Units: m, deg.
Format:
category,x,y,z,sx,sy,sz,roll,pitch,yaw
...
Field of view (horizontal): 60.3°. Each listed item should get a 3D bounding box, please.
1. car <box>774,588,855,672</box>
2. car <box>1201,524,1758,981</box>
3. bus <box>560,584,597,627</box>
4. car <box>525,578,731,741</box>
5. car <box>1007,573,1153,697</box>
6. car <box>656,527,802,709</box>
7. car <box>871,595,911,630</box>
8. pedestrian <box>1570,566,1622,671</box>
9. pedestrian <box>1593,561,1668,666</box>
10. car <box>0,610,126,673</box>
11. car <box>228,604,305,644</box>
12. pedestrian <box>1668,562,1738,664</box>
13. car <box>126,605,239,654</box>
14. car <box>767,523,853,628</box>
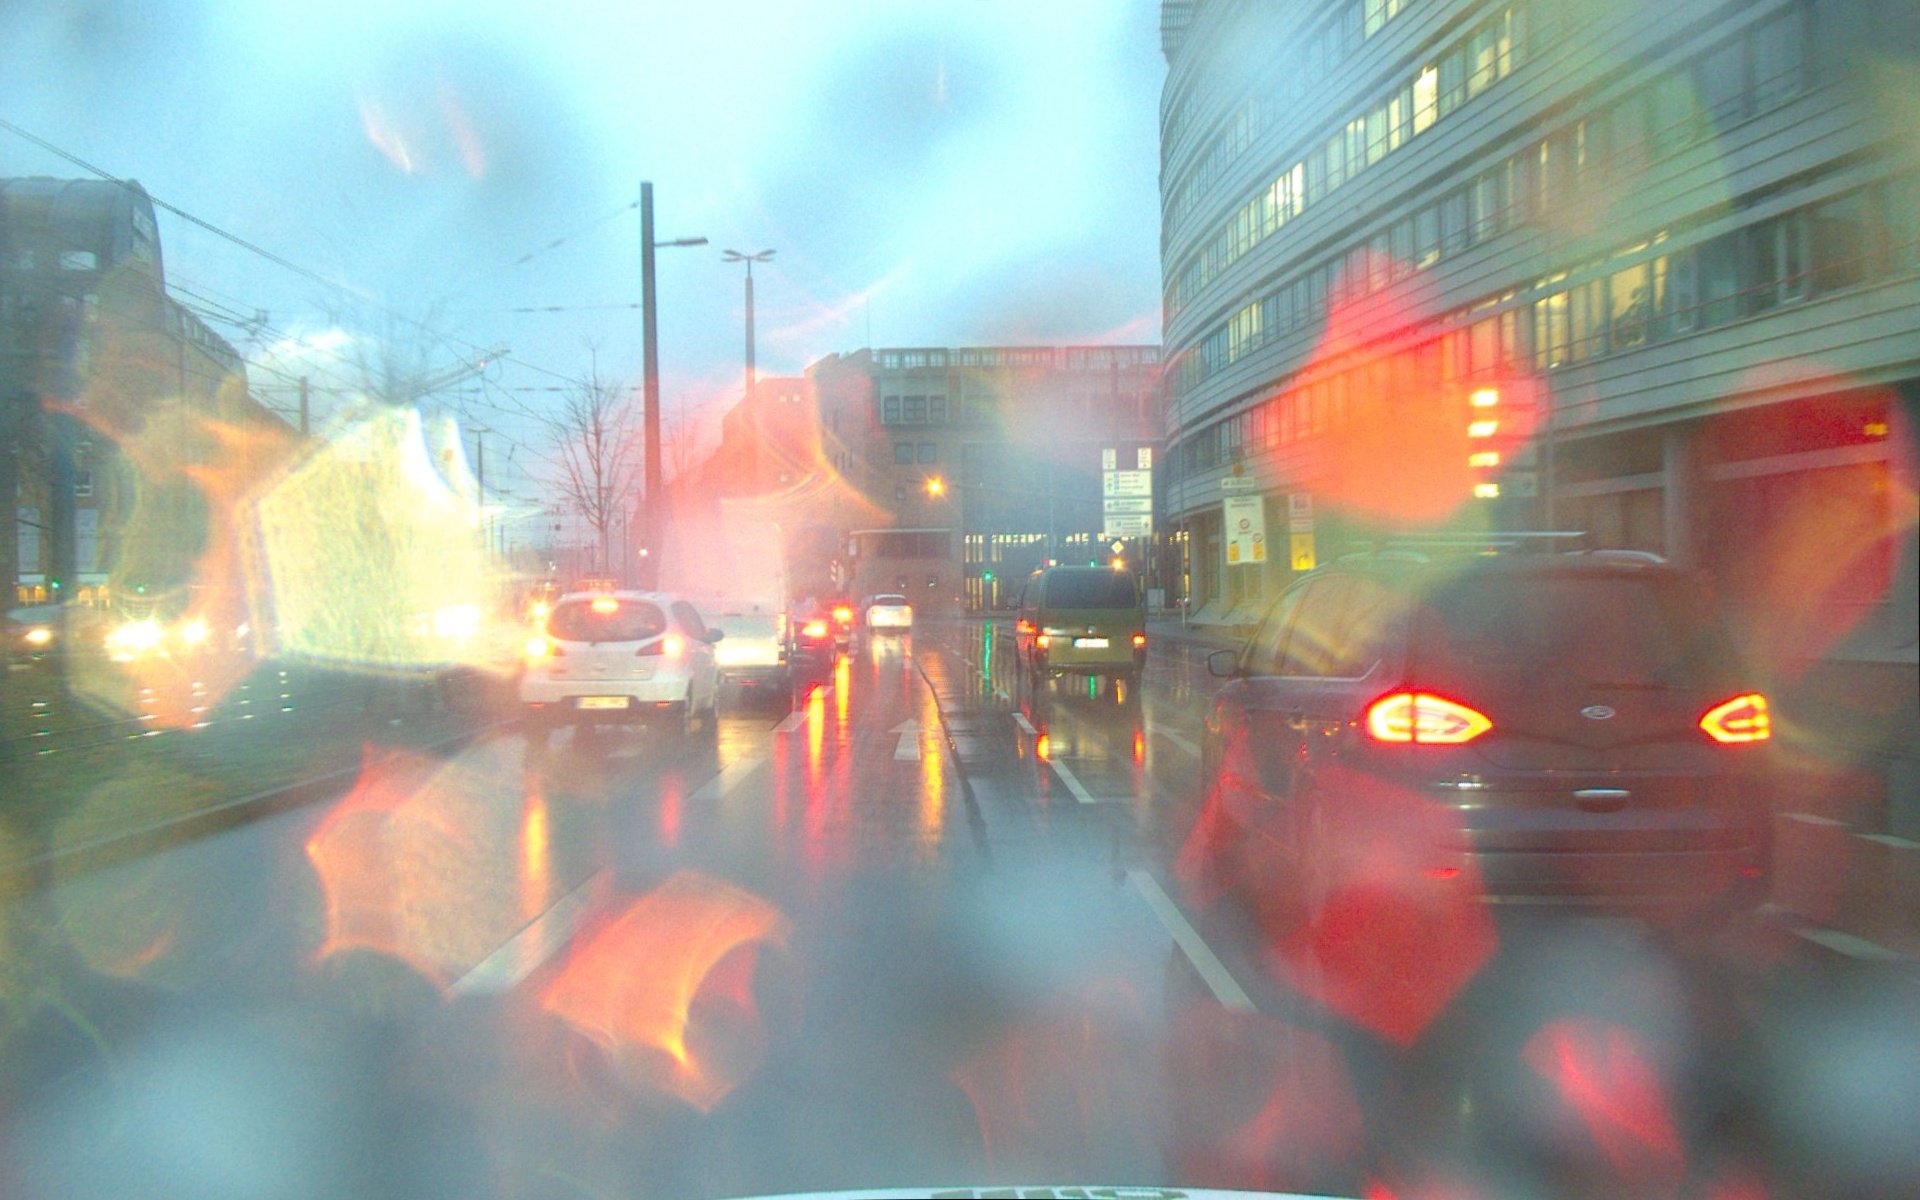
category,x,y,z,sx,sy,sz,roll,pitch,yaw
car,-2.878,0.576,32.678,1.488,1.547,3.466,-1,-1,-5
car,2.371,0.607,8.615,1.639,1.811,4.000,1,0,0
bus,-32.173,0.467,139.331,2.776,3.431,7.969,-1,0,-14
car,-3.420,0.542,17.622,1.606,1.522,3.683,-1,1,-3
car,1.872,0.523,27.157,1.807,1.837,4.483,-1,0,-3
car,-3.484,0.244,25.762,1.955,2.470,5.966,-1,0,-6
car,-2.732,0.480,65.751,1.481,1.328,3.040,-1,0,-1
pedestrian,10.547,0.308,27.446,0.520,1.712,0.744,-1,0,-2
pedestrian,11.229,0.218,27.721,0.777,1.715,1.068,-1,0,-2
car,-22.192,0.971,40.288,1.694,1.417,4.197,-1,0,-2
car,-27.139,0.920,64.857,1.599,1.475,3.620,-1,0,-2
pedestrian,12.331,0.218,27.481,0.711,1.653,0.902,-1,0,-2
car,-24.662,0.896,52.642,1.955,1.475,4.308,-1,0,-7
car,-4.360,-0.668,48.667,2.309,2.876,6.353,-1,0,-4
